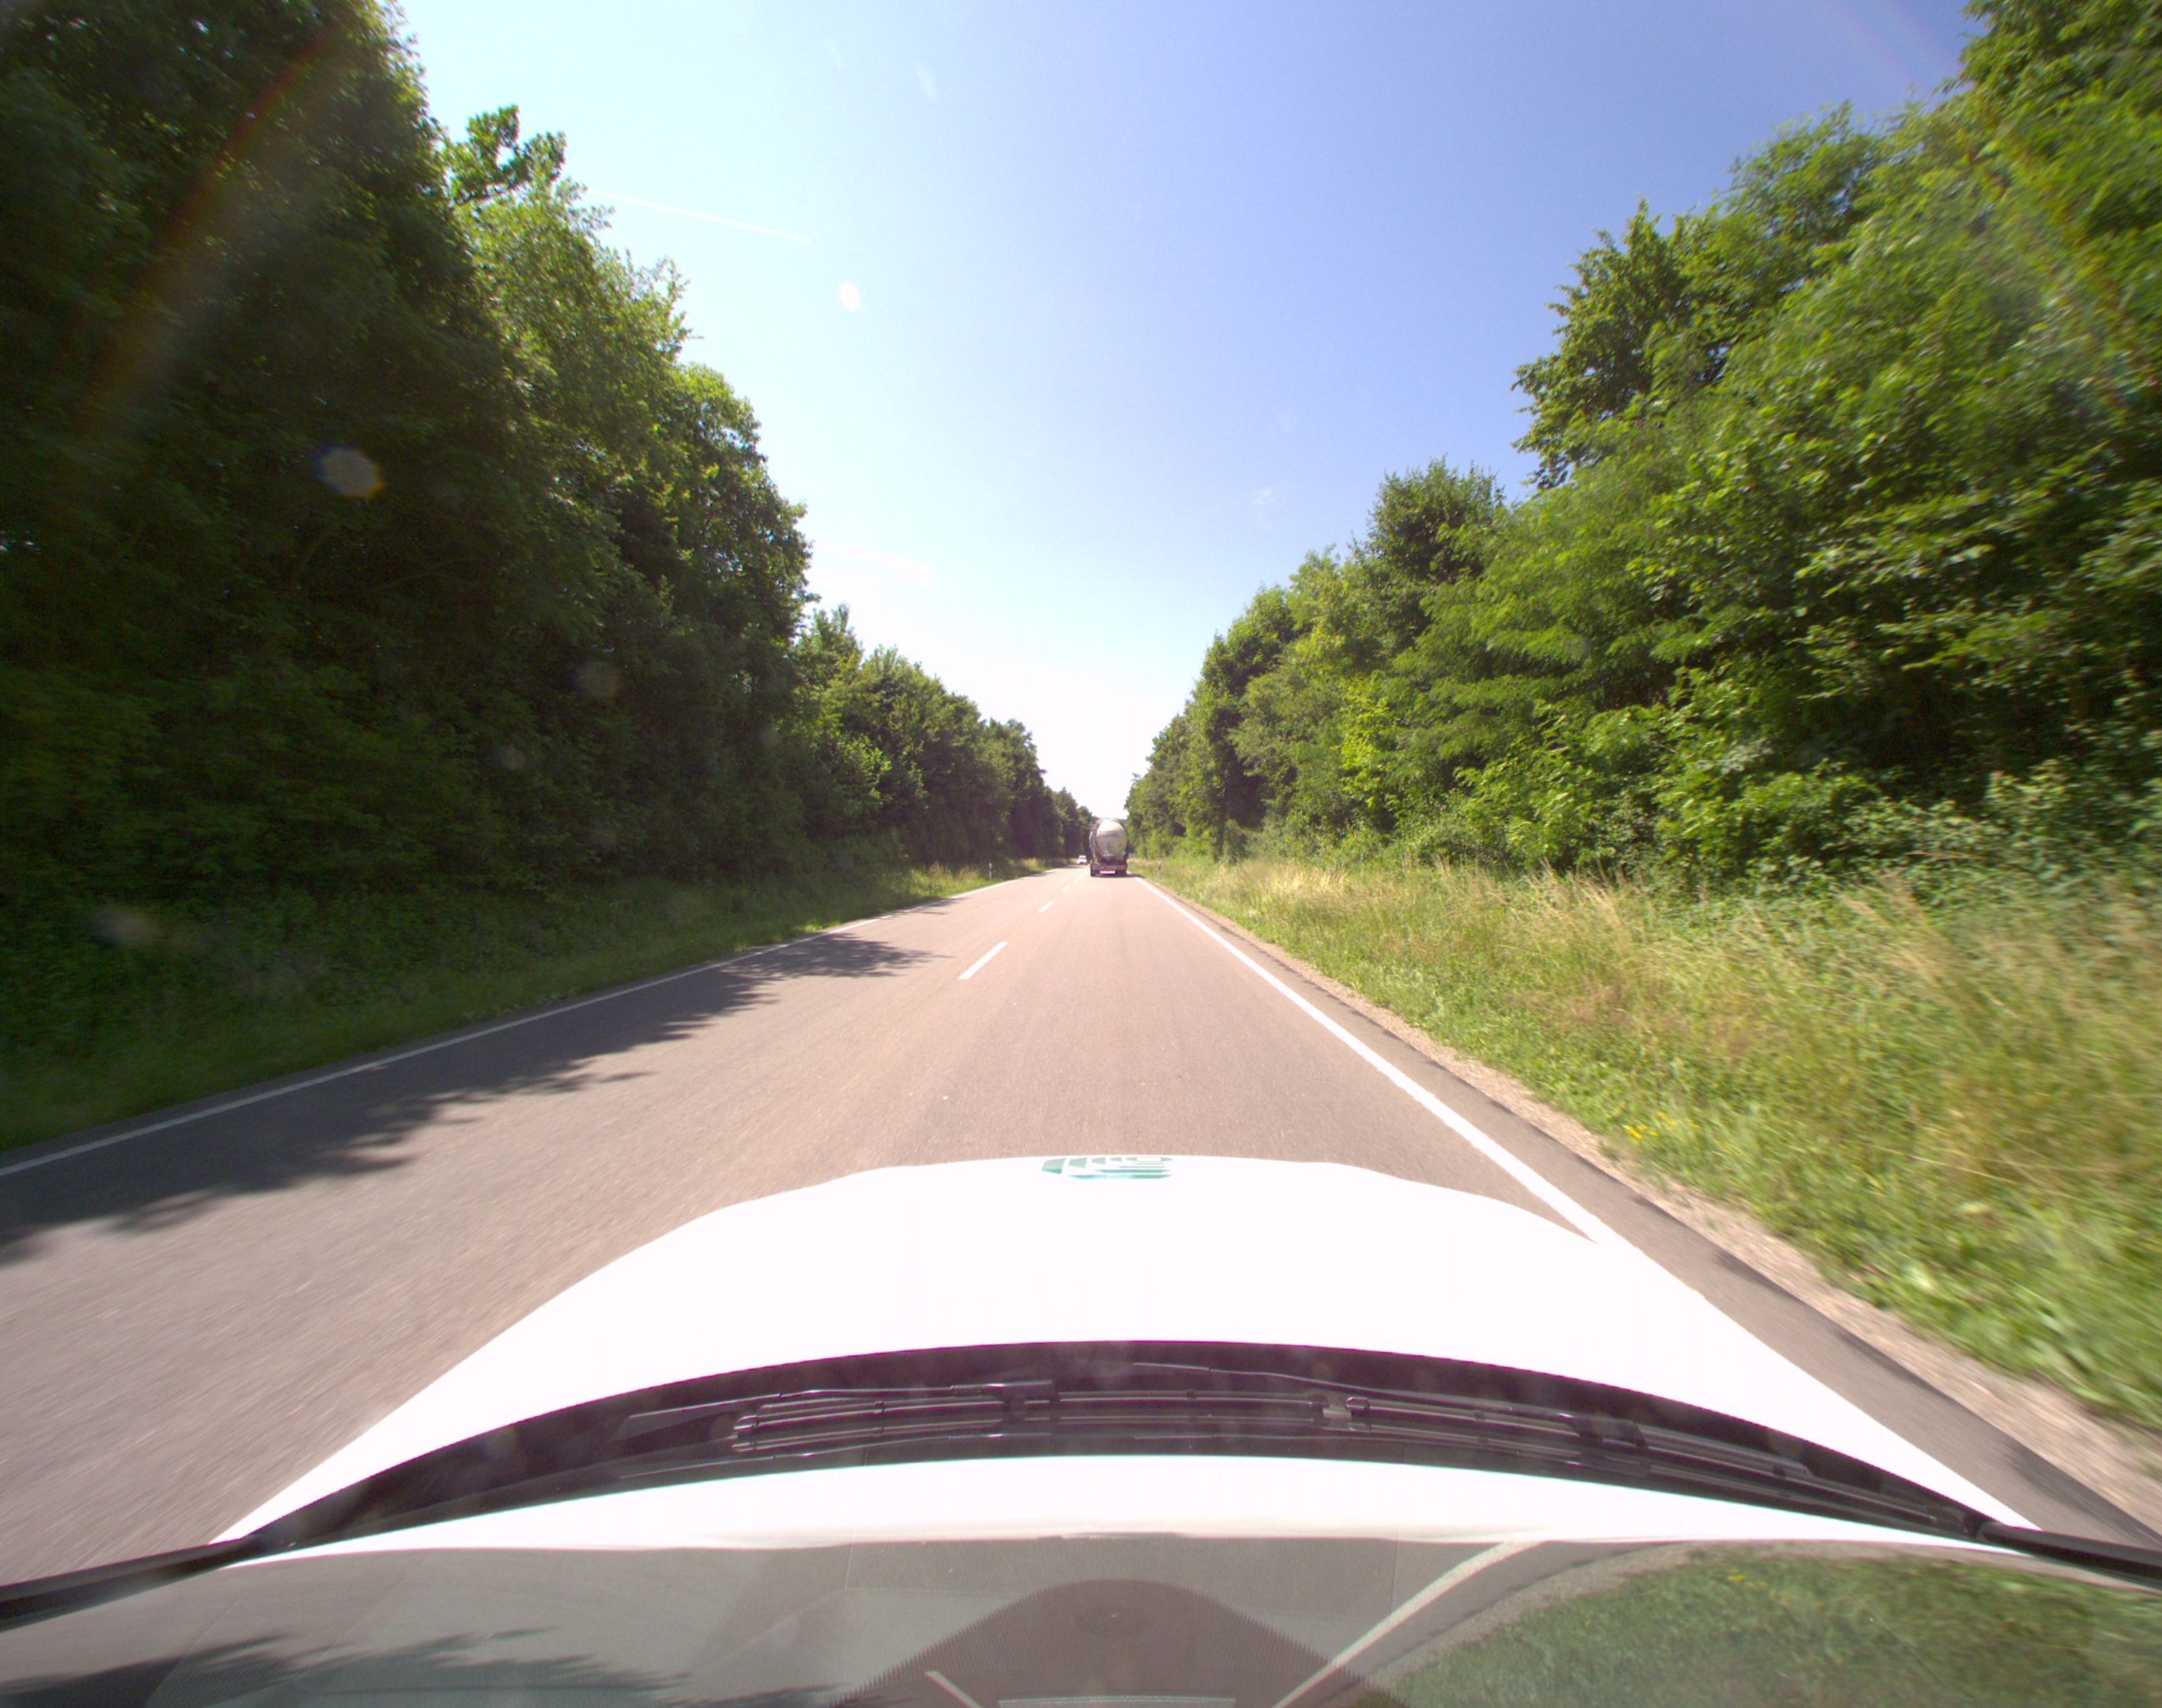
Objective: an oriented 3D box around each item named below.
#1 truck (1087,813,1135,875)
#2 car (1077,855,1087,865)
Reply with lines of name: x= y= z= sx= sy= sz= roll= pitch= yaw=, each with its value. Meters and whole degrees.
truck: x=2.216 y=-0.570 z=61.516 sx=3.038 sy=3.998 sz=15.641 roll=2 pitch=-1 yaw=2
car: x=0.168 y=1.026 z=138.655 sx=1.506 sy=1.592 sz=3.795 roll=-1 pitch=0 yaw=2
